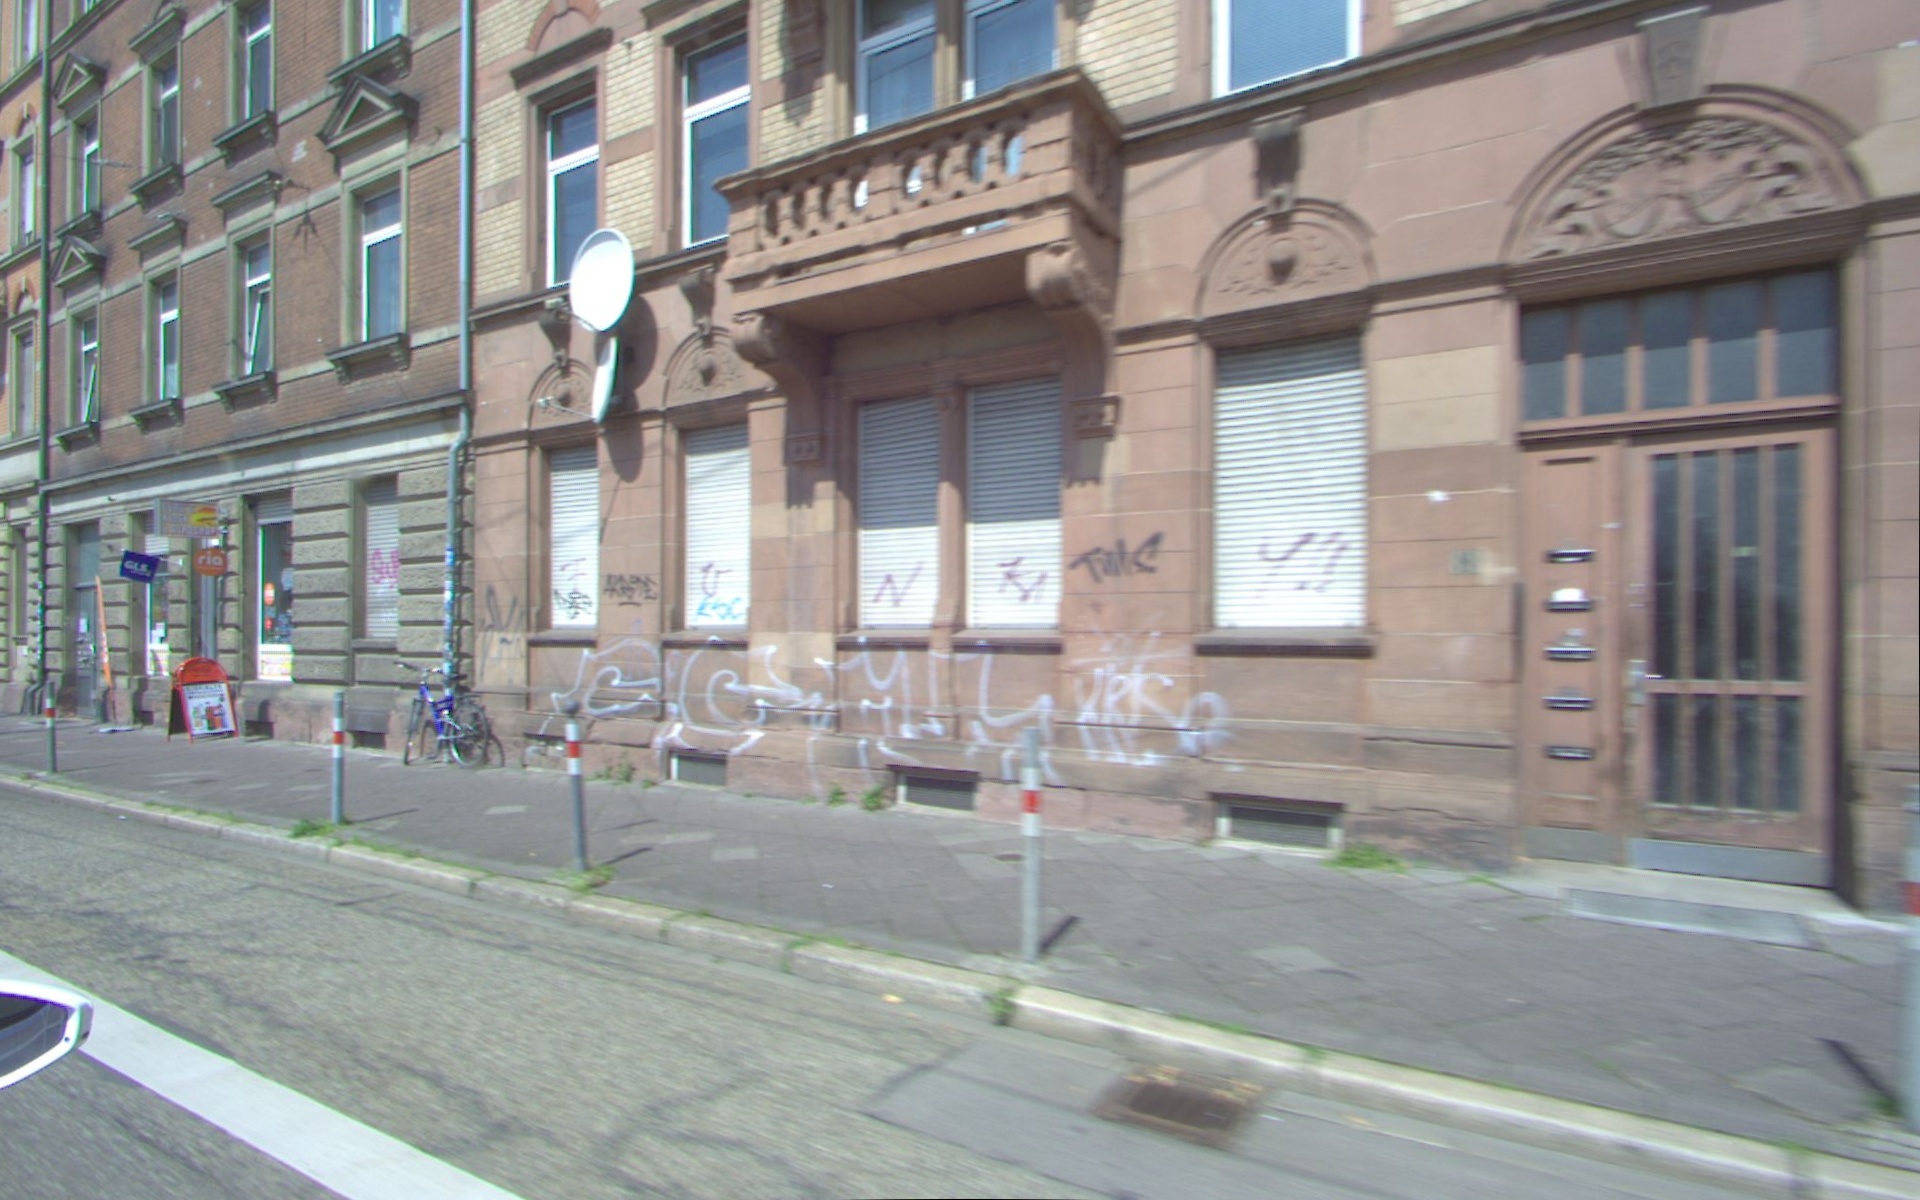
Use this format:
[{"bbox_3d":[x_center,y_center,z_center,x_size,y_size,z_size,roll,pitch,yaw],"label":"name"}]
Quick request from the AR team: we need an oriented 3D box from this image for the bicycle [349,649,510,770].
[{"bbox_3d":[-5.867,1.158,11.029,2.174,1.193,0.585,-1,-1,33],"label":"bicycle"}]
